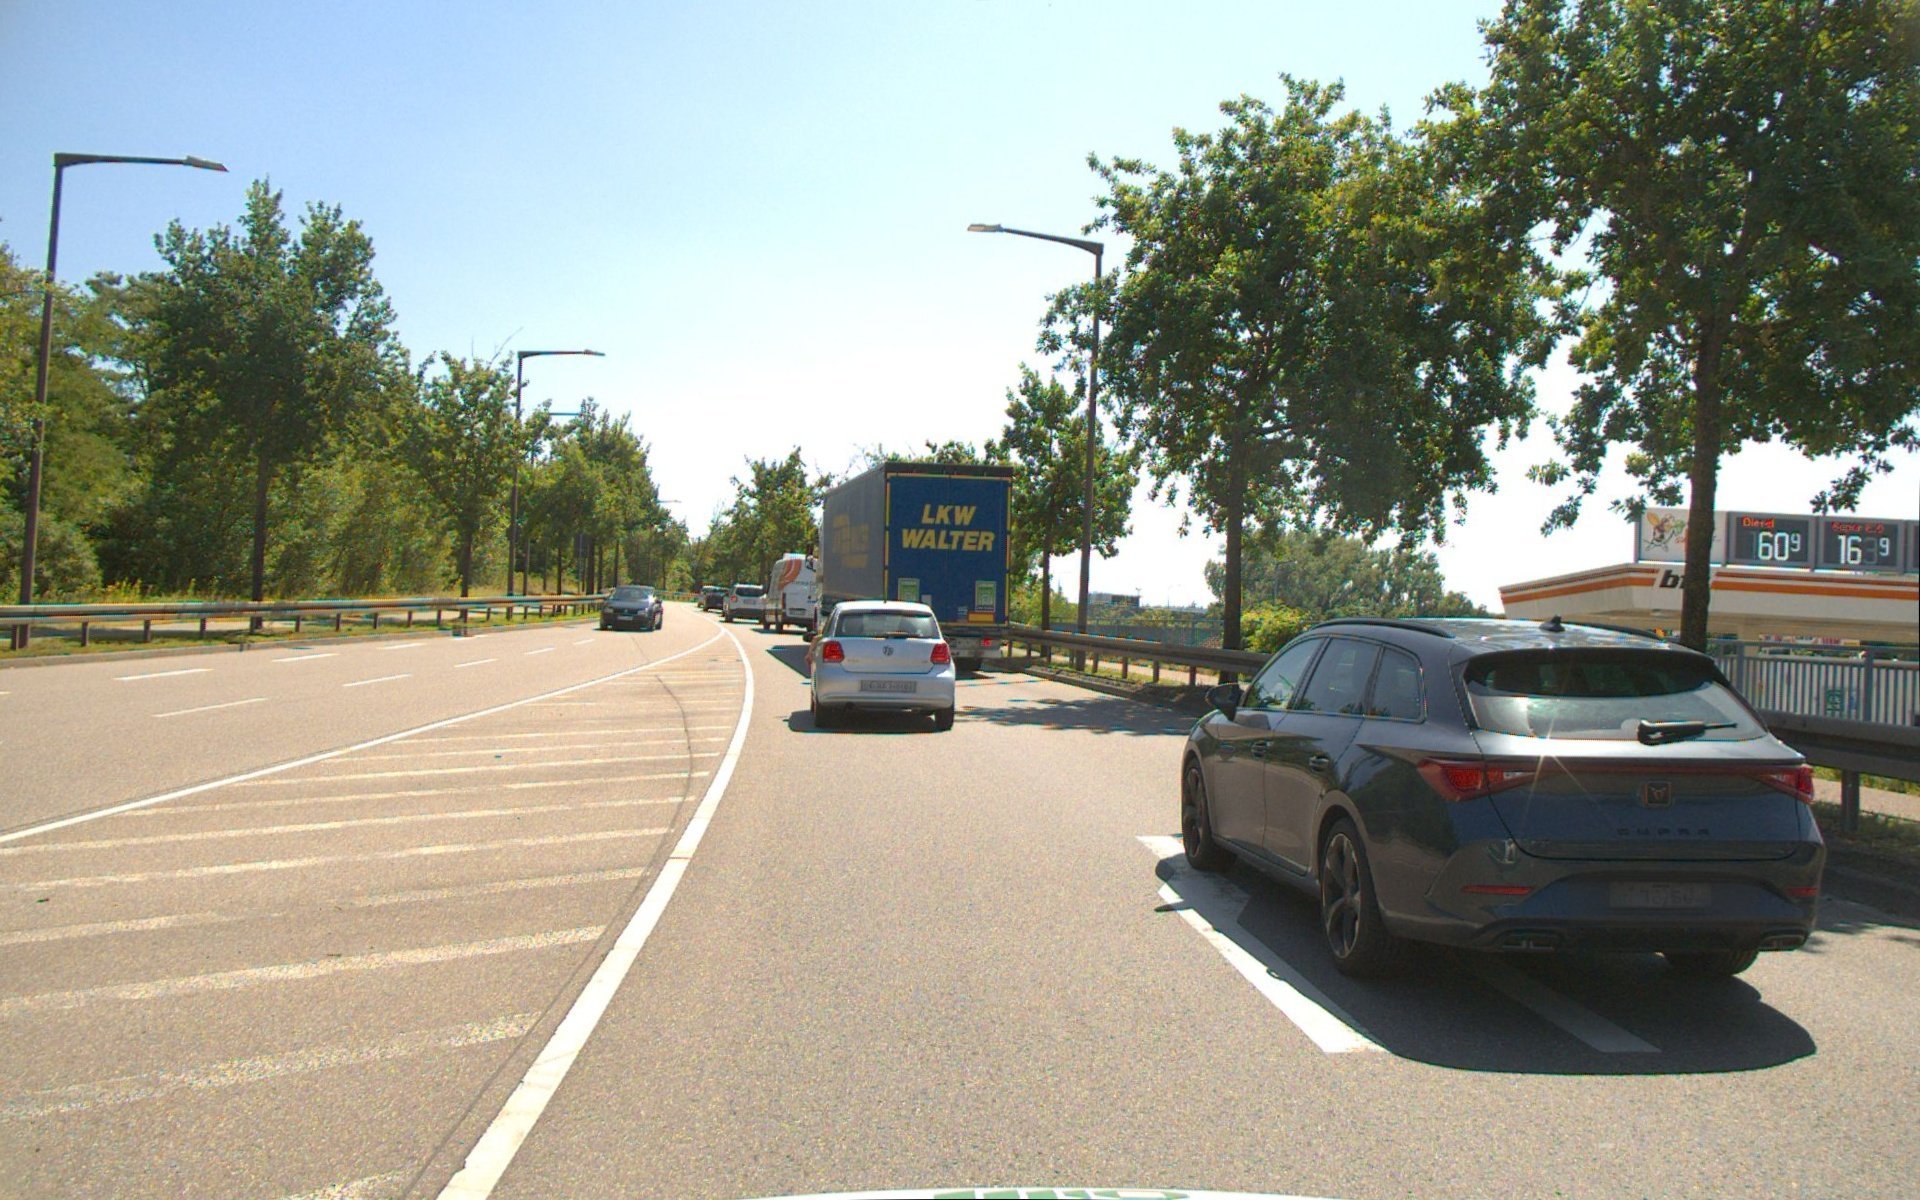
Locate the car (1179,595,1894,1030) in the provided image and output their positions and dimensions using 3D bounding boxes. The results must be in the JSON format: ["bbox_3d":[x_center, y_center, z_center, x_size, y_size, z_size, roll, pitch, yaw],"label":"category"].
[{"bbox_3d":[2.299,0.802,7.830,1.573,1.481,4.230,2,-2,-5],"label":"car"}]

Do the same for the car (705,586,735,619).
[{"bbox_3d":[-14.143,0.159,97.337,1.690,1.756,3.991,2,-2,-9],"label":"car"}]

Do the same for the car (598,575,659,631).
[{"bbox_3d":[-10.844,0.058,54.281,1.647,1.700,3.750,1,1,-7],"label":"car"}]

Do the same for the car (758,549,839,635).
[{"bbox_3d":[-6.055,-0.296,61.435,2.138,2.951,6.337,2,0,-13],"label":"car"}]

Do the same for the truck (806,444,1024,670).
[{"bbox_3d":[-1.593,-0.699,39.916,2.782,4.272,16.432,1,-1,-10],"label":"truck"}]

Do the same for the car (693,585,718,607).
[{"bbox_3d":[-17.079,-0.263,111.140,1.578,1.384,3.655,2,-1,-9],"label":"car"}]

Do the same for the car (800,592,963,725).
[{"bbox_3d":[-1.041,0.707,20.363,1.615,1.464,3.529,2,-2,-9],"label":"car"}]

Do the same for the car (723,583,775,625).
[{"bbox_3d":[-9.403,0.206,73.544,1.870,1.748,4.209,2,-2,-12],"label":"car"}]
